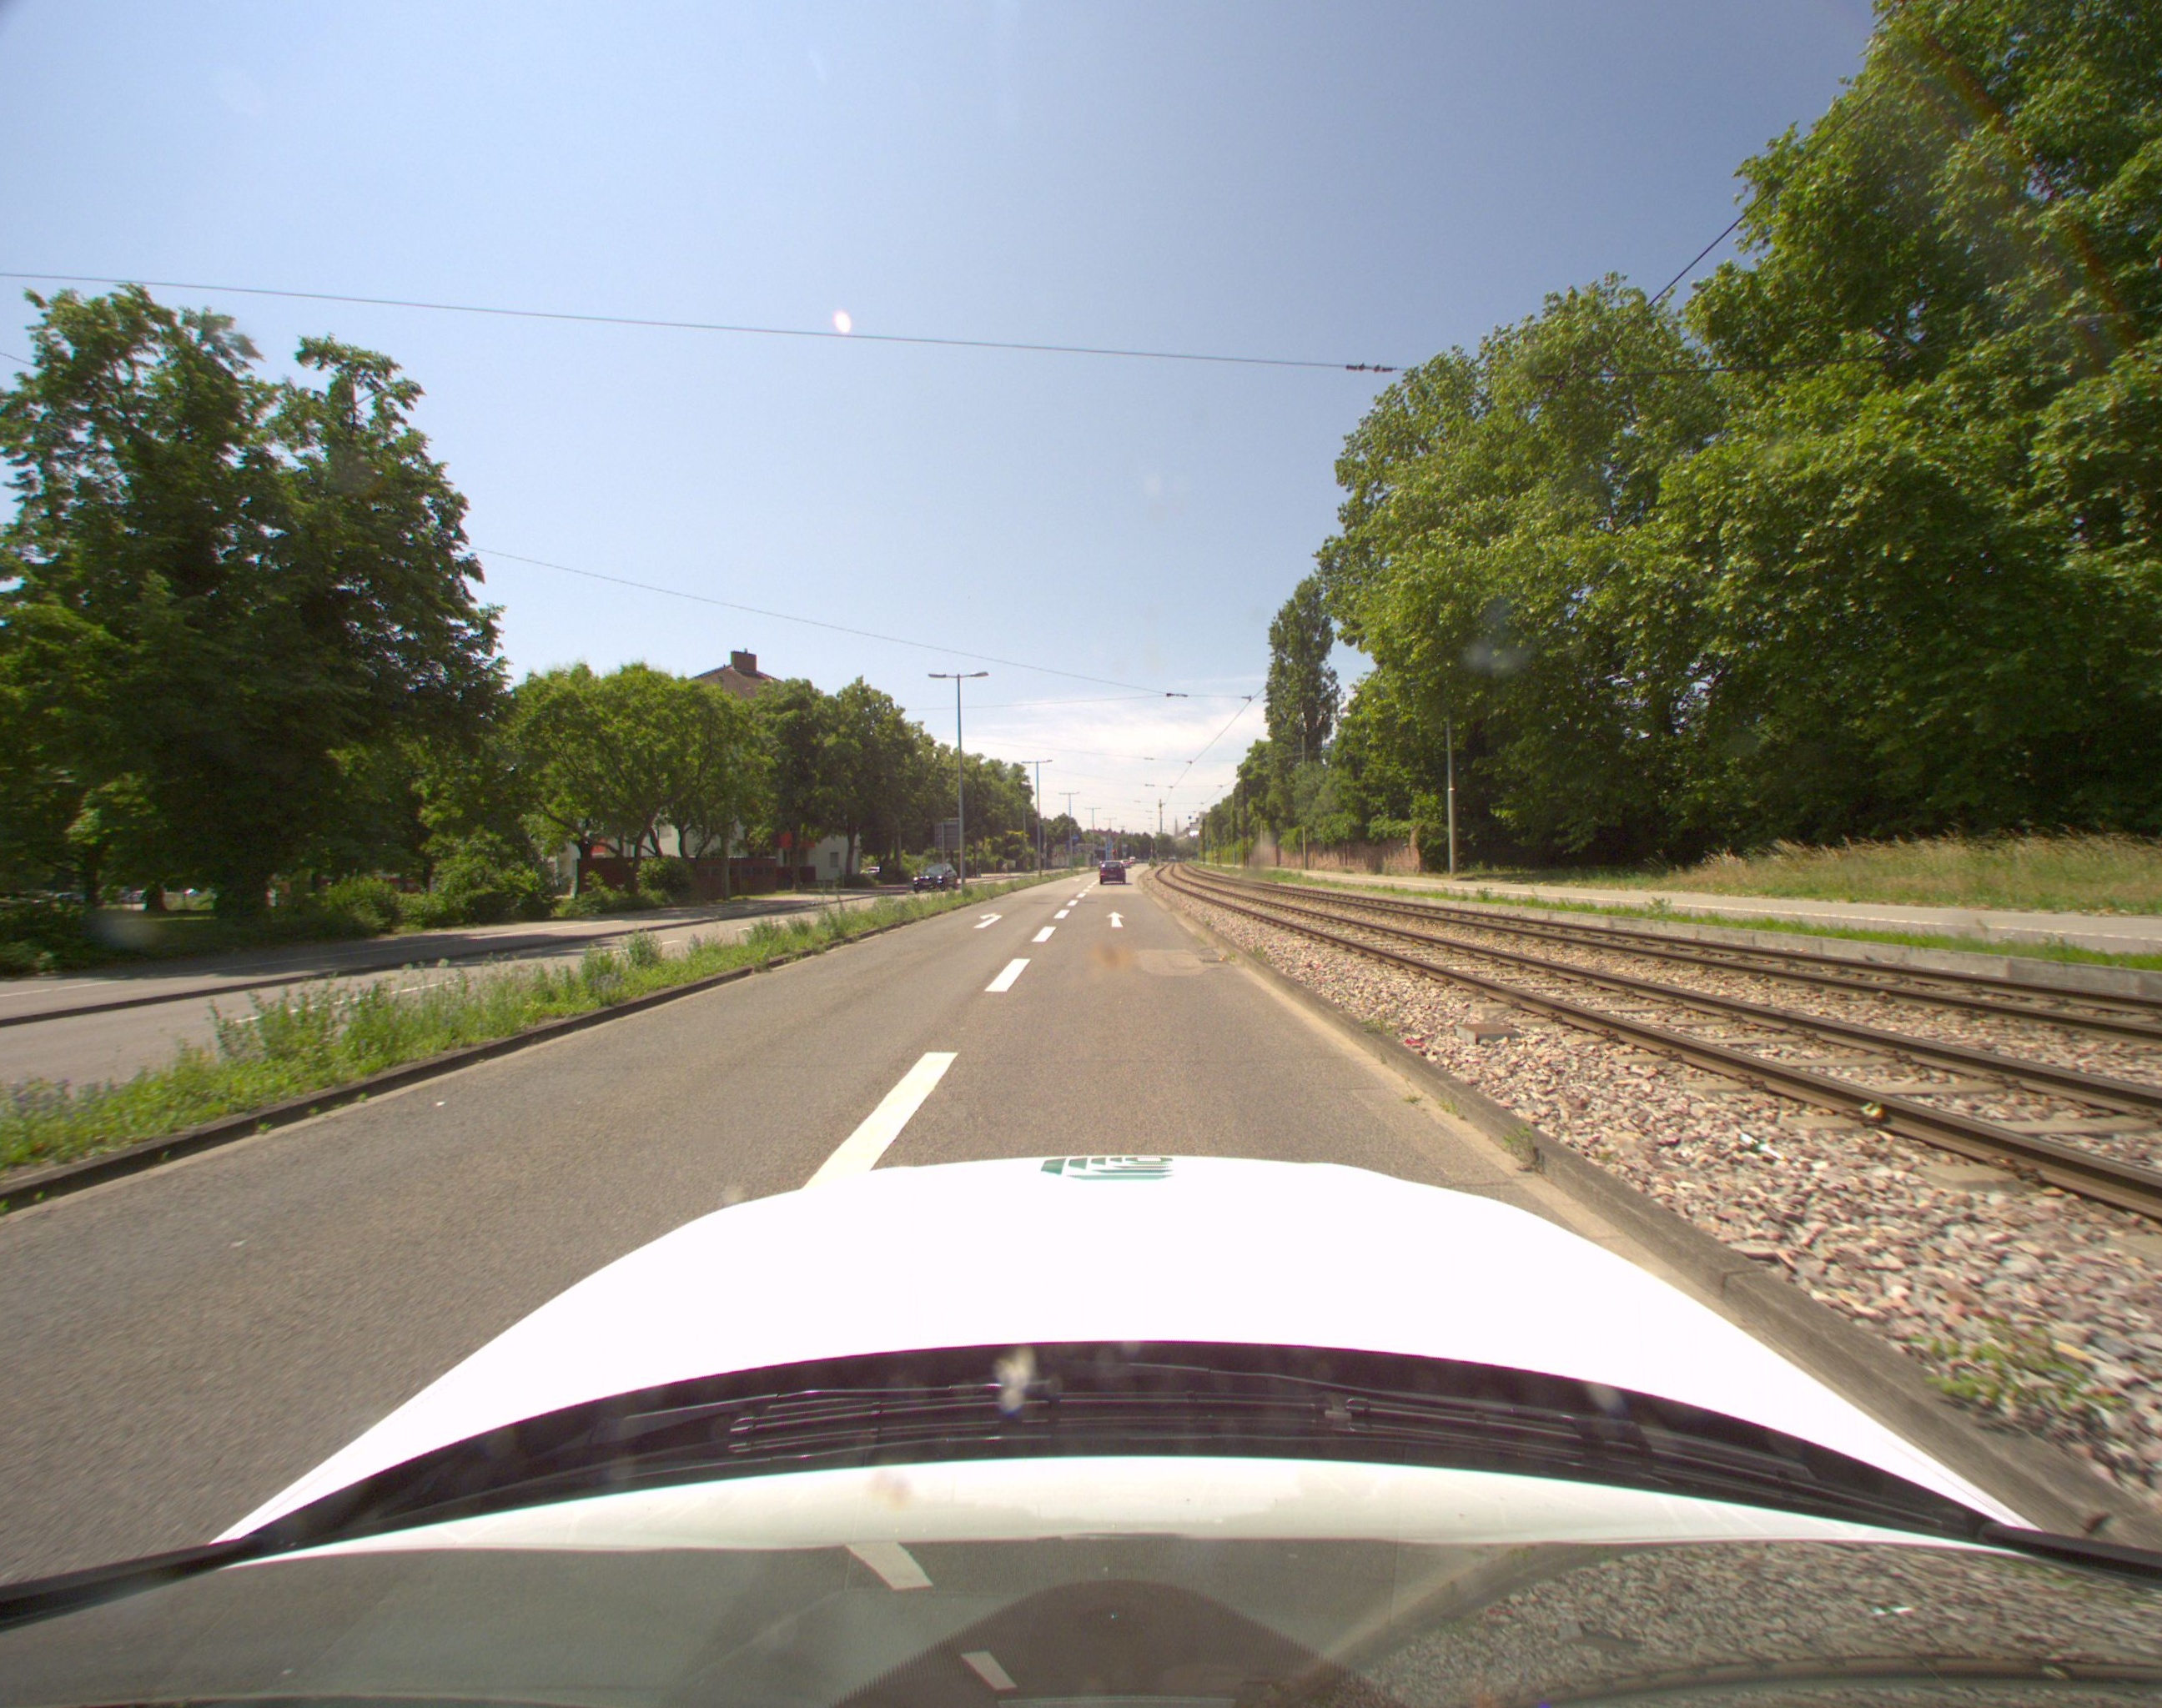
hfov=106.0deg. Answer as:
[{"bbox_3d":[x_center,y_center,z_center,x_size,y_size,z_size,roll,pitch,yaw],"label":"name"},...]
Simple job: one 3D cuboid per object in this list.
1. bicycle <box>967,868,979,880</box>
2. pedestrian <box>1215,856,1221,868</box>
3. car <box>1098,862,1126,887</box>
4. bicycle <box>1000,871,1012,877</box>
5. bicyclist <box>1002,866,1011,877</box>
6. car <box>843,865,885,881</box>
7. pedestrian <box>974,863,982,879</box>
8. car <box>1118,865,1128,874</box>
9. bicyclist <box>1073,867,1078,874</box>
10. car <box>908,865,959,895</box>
[{"bbox_3d":[-11.919,2.184,89.638,0.640,1.328,1.581,-2,-1,18],"label":"bicycle"},{"bbox_3d":[19.232,1.159,114.450,0.658,1.726,0.817,-2,-1,5],"label":"pedestrian"},{"bbox_3d":[1.970,1.311,51.439,1.696,1.477,3.719,-1,-2,3],"label":"car"},{"bbox_3d":[-9.763,2.625,106.419,1.438,0.773,0.492,-2,-1,-36],"label":"bicycle"},{"bbox_3d":[-9.774,2.299,106.424,0.968,1.403,0.486,-1,-1,-35],"label":"bicyclist"},{"bbox_3d":[-26.942,2.349,101.121,4.657,1.758,1.997,-2,-1,-4],"label":"car"},{"bbox_3d":[-11.336,1.869,89.559,0.545,1.718,0.606,-2,-1,19],"label":"pedestrian"},{"bbox_3d":[7.243,2.672,139.912,1.696,1.481,3.717,-1,-1,1],"label":"car"},{"bbox_3d":[-1.160,3.603,176.354,0.943,1.593,1.085,0,-2,-8],"label":"bicyclist"},{"bbox_3d":[-8.725,1.505,48.686,1.915,1.626,4.759,-3,-1,2],"label":"car"}]
